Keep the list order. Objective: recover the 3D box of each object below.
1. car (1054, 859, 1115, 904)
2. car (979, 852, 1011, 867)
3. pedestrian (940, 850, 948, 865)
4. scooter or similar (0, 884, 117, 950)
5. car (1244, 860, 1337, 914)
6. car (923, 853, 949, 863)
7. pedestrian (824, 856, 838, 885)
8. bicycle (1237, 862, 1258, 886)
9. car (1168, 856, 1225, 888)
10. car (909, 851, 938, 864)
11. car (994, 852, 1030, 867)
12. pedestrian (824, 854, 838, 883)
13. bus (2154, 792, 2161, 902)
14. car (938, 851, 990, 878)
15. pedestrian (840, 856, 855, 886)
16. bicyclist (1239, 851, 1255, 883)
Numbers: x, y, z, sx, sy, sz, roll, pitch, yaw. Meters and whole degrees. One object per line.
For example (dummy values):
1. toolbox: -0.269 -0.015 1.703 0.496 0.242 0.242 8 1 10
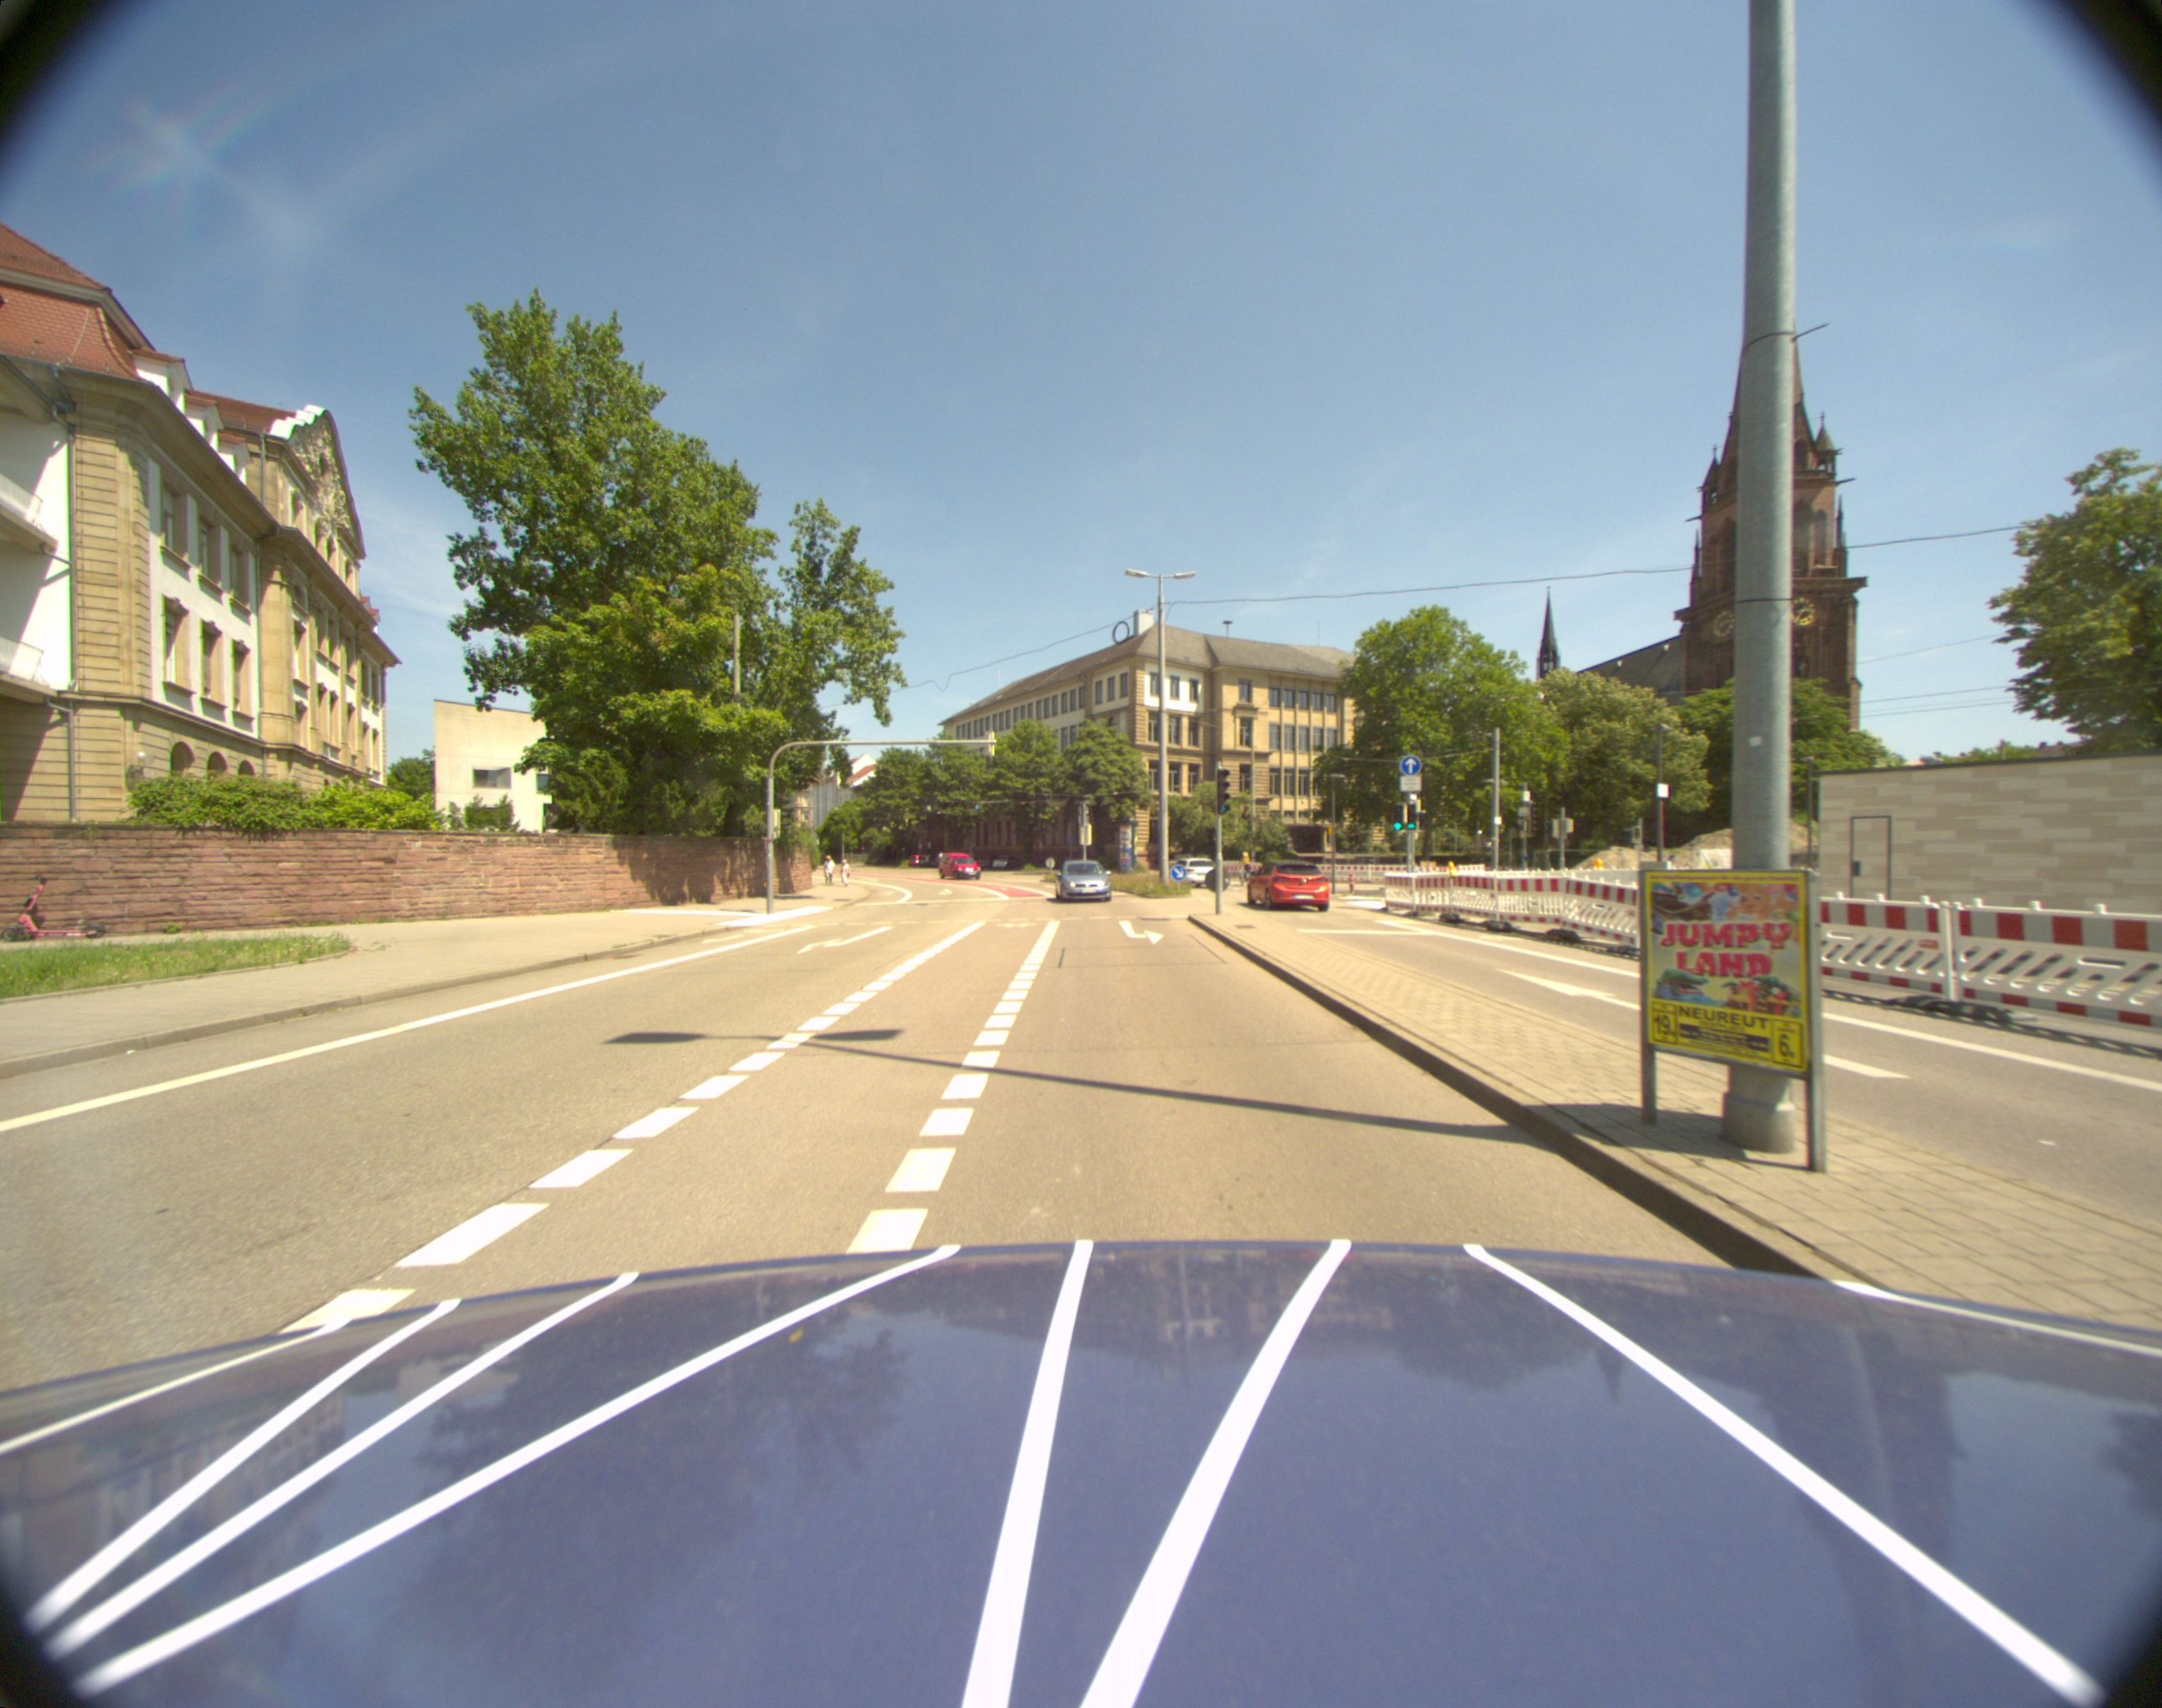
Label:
1. car: 0.057 0.942 27.375 1.833 1.406 3.992 -1 1 -5
2. car: -9.198 0.592 81.188 1.567 1.454 3.156 -2 1 38
3. pedestrian: -15.020 0.412 83.184 0.725 1.661 0.642 0 1 -29
4. scooter or similar: -19.059 1.140 14.128 0.373 1.102 1.352 -1 1 39
5. car: 6.161 0.924 22.746 1.692 1.370 4.013 2 1 1
6. car: -18.039 0.529 94.524 1.277 1.092 2.995 -2 1 38
7. pedestrian: -14.143 0.921 42.983 0.606 1.601 0.557 2 -1 -31
8. bicycle: 8.780 1.046 40.143 0.589 1.143 2.009 2 0 -2
9. car: 5.755 0.869 38.403 1.821 1.420 4.425 1 0 -5
10. car: -20.329 0.450 98.146 1.611 1.444 3.585 -2 1 28
11. car: -7.189 0.588 79.347 1.567 1.412 3.559 -2 1 40
12. pedestrian: -14.853 0.855 45.097 0.606 1.702 0.557 2 -1 -32
13. bus: 33.859 -0.317 17.425 2.860 3.036 10.577 -3 1 -33
14. car: -8.215 0.705 53.141 1.837 1.756 4.268 -3 1 -35
15. pedestrian: -12.883 0.939 41.959 0.606 1.601 0.557 2 -1 -31
16. bicyclist: 8.786 0.666 40.142 0.587 1.655 0.798 2 1 -3
